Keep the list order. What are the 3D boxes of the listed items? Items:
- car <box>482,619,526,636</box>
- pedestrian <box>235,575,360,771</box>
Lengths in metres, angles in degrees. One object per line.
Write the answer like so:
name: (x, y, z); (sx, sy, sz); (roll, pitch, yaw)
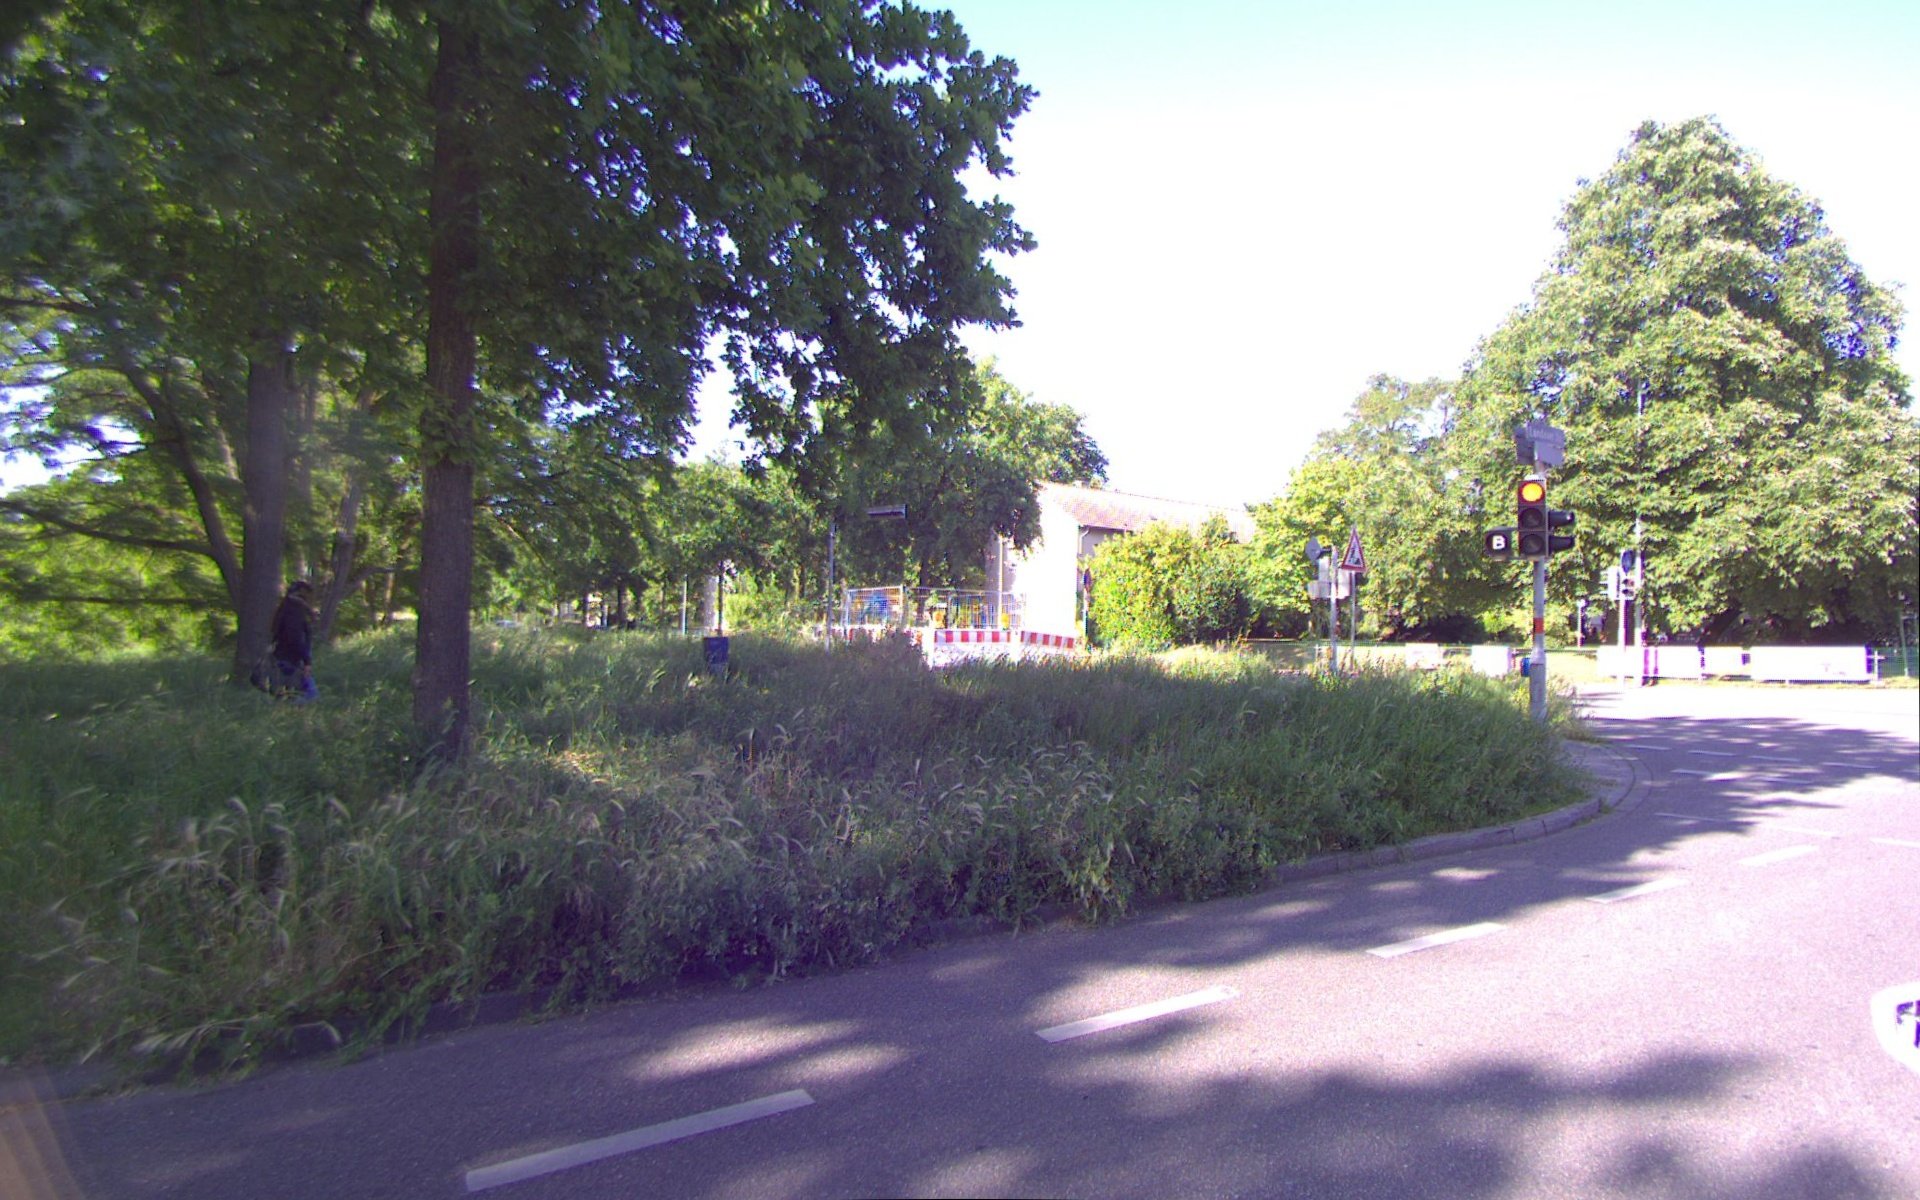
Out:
car: (-47.399, 2.866, 104.479); (3.939, 1.673, 1.991); (2, 0, -20)
pedestrian: (-6.148, 0.638, 9.378); (0.880, 1.710, 0.909); (1, 0, -29)
